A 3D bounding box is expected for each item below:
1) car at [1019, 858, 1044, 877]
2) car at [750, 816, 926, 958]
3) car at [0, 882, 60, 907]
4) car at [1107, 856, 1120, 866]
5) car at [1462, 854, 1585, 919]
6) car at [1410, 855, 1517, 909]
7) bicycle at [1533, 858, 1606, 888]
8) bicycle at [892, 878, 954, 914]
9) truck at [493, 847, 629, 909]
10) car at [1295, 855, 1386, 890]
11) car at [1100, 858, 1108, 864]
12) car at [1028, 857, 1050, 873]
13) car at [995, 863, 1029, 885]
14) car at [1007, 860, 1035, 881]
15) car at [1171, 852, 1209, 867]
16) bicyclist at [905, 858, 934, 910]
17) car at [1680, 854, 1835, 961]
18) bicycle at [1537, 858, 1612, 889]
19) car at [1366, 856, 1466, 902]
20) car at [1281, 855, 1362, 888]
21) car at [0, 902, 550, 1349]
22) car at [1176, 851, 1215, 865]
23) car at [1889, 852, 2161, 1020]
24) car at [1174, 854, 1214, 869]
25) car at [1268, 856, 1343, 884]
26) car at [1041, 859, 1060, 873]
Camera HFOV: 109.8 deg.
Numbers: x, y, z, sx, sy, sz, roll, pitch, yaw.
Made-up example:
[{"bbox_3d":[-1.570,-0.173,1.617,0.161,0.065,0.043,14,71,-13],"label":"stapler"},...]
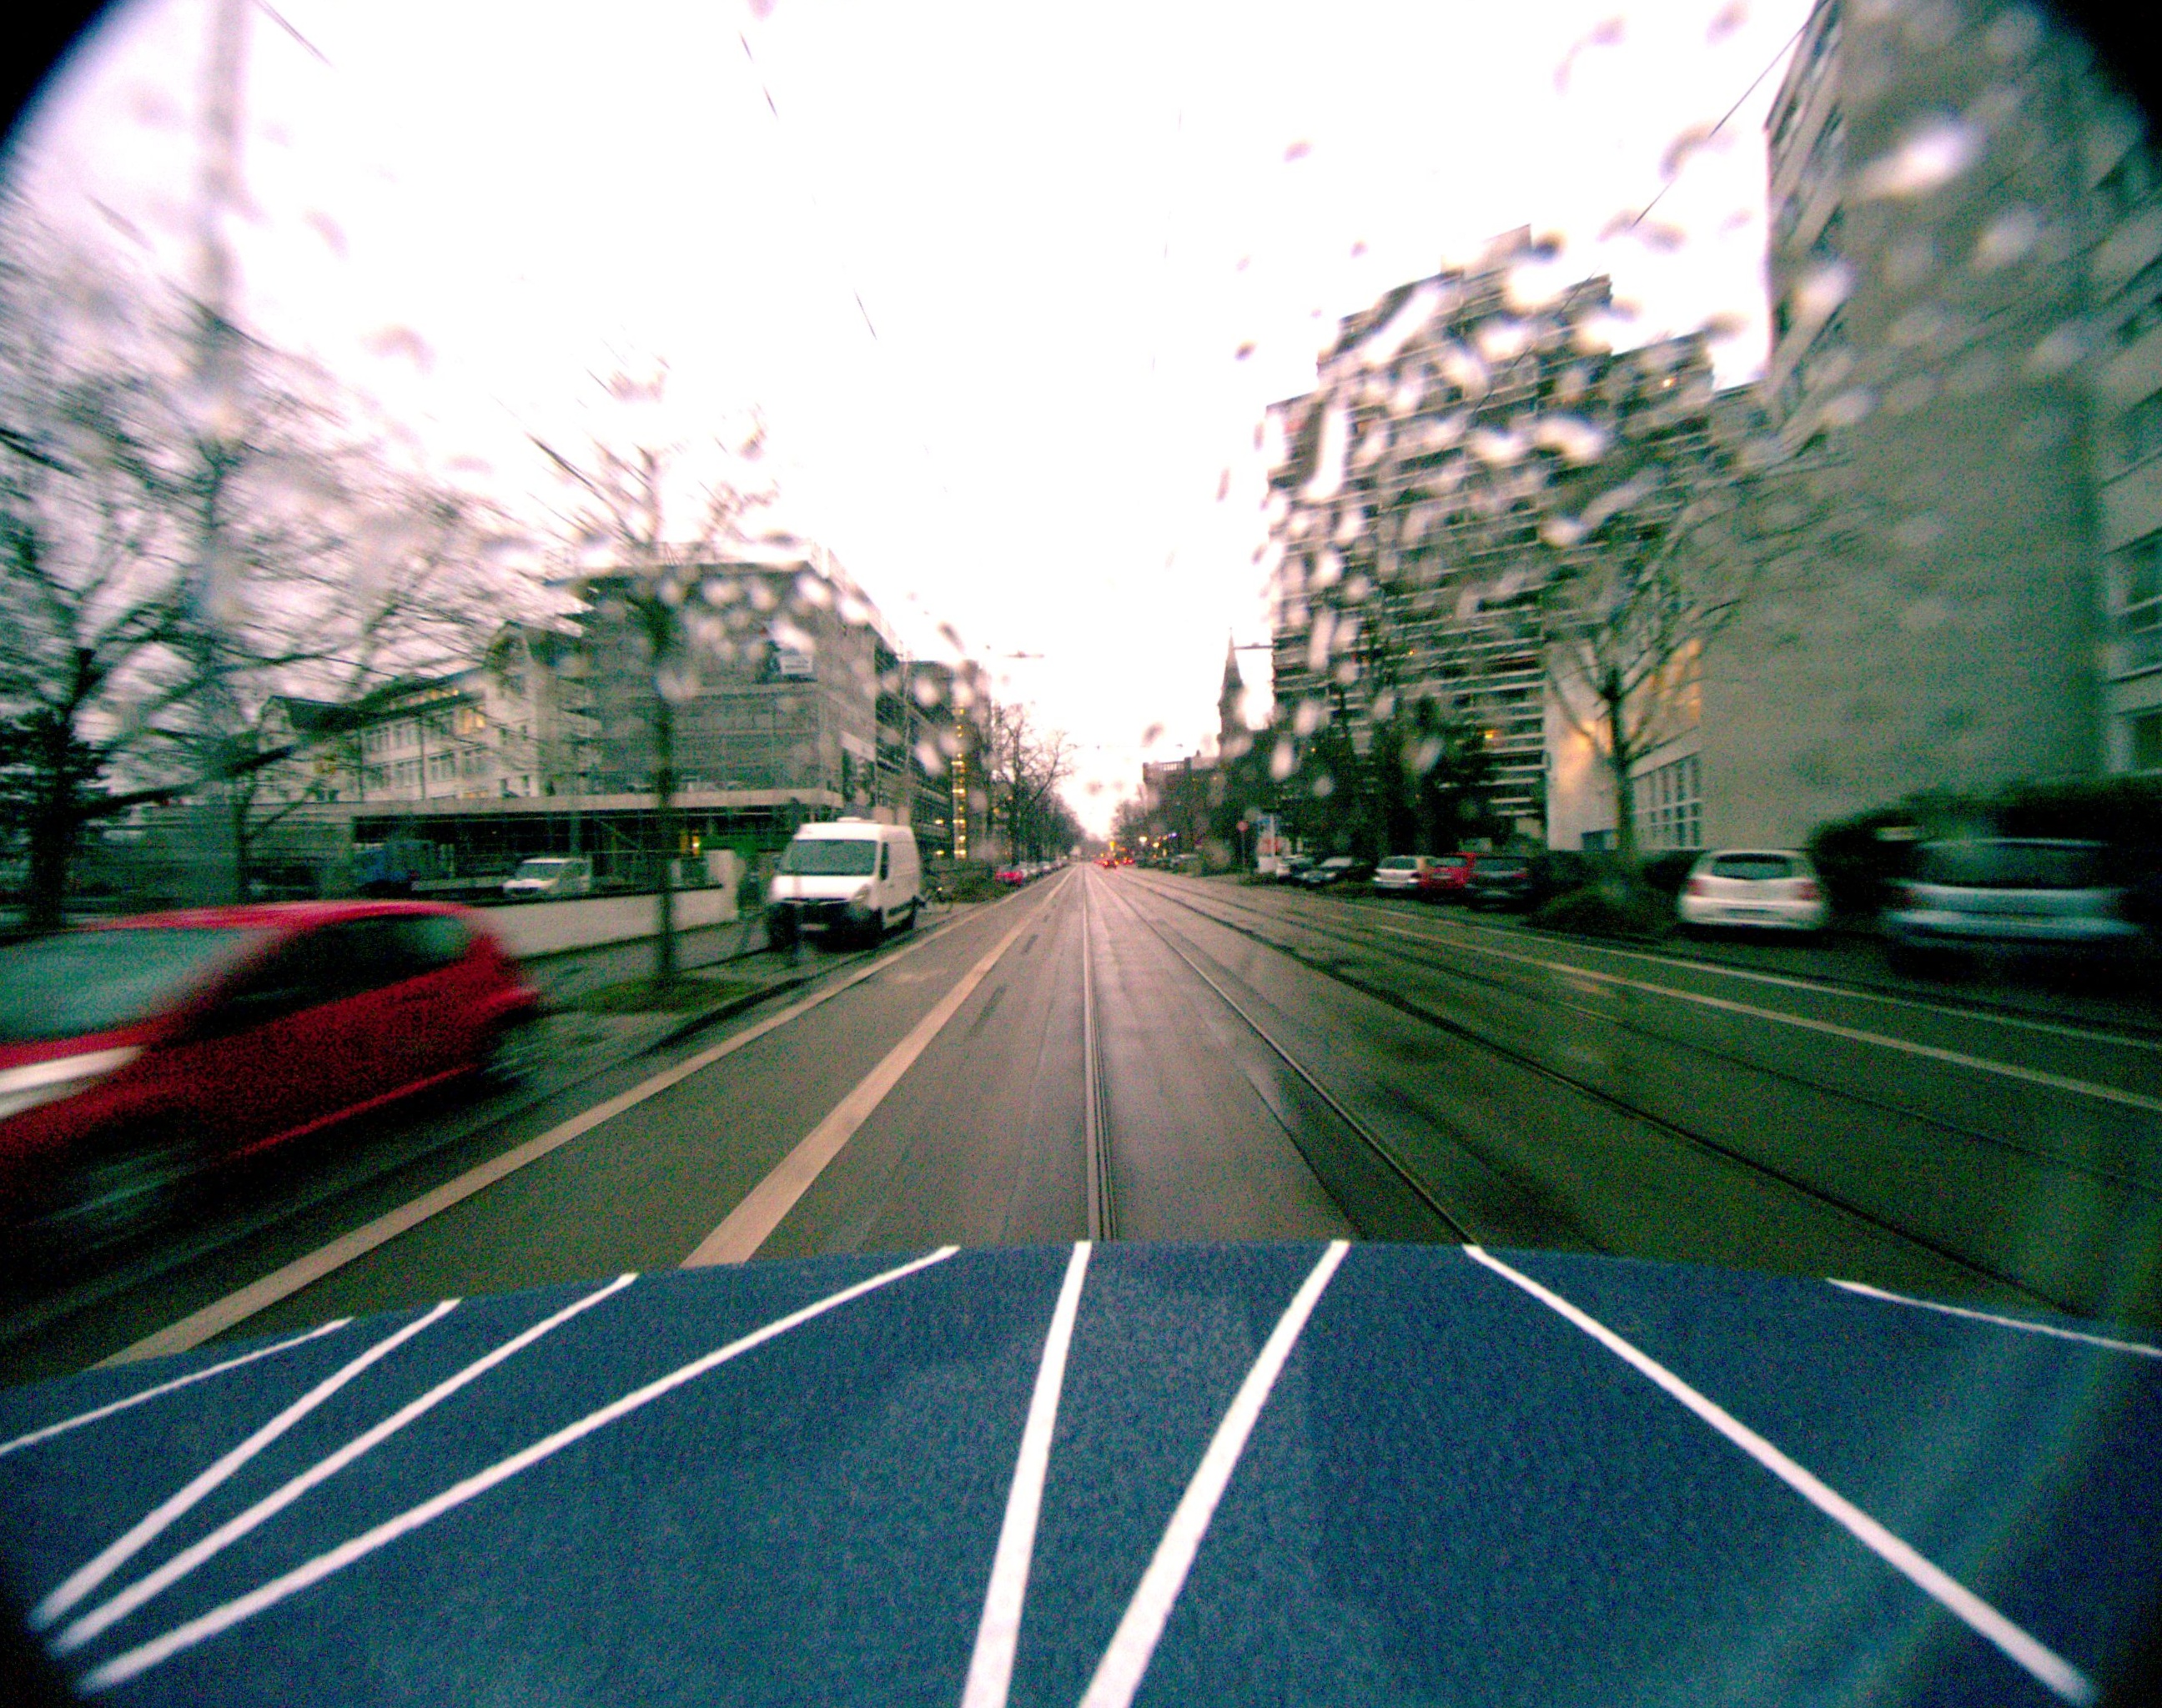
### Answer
[{"bbox_3d":[-4.453,1.227,69.255,1.866,1.584,4.001,-1,-1,2],"label":"car"},{"bbox_3d":[-4.839,0.611,16.102,2.130,2.472,5.438,-1,-1,-2],"label":"car"},{"bbox_3d":[-69.790,2.652,49.723,1.700,1.514,3.316,-1,-1,27],"label":"car"},{"bbox_3d":[4.993,1.106,116.552,1.752,1.535,4.295,-1,-1,-2],"label":"car"},{"bbox_3d":[11.390,0.766,19.448,3.862,1.484,1.691,0,-1,-43],"label":"car"},{"bbox_3d":[11.659,0.804,23.068,3.458,1.484,1.725,0,-1,-42],"label":"car"},{"bbox_3d":[18.289,0.724,28.512,2.200,1.114,0.643,-1,0,23],"label":"bicycle"},{"bbox_3d":[-5.142,1.372,24.802,1.893,1.126,0.730,-1,0,-3],"label":"bicycle"},{"bbox_3d":[-23.881,0.978,35.400,2.132,2.573,7.075,-1,1,-7],"label":"truck"},{"bbox_3d":[10.996,0.767,32.093,4.008,1.370,1.851,0,-1,-42],"label":"car"},{"bbox_3d":[5.700,1.683,190.100,1.765,1.402,4.001,-1,-1,1],"label":"car"},{"bbox_3d":[-4.263,1.087,78.388,1.866,1.584,4.001,-1,-1,2],"label":"car"},{"bbox_3d":[-4.459,1.287,49.486,1.753,1.379,3.737,-1,-1,2],"label":"car"},{"bbox_3d":[-4.588,1.242,58.605,1.753,1.574,3.737,-1,-1,2],"label":"car"},{"bbox_3d":[11.926,0.632,83.295,3.995,1.630,2.001,-1,-1,6],"label":"car"},{"bbox_3d":[-5.268,0.967,24.803,0.771,1.679,0.707,-1,0,-1],"label":"bicyclist"},{"bbox_3d":[11.623,0.789,12.966,3.885,1.542,1.688,0,-1,-44],"label":"car"},{"bbox_3d":[17.913,0.711,27.659,2.200,1.114,0.643,-1,0,23],"label":"bicycle"},{"bbox_3d":[11.483,0.797,25.937,1.788,1.437,4.009,-1,-1,44],"label":"car"},{"bbox_3d":[11.418,0.812,35.985,4.008,1.454,1.851,0,-1,-42],"label":"car"},{"bbox_3d":[-4.933,1.137,4.128,1.647,1.514,3.572,-2,-1,-2],"label":"car"},{"bbox_3d":[12.125,0.434,80.389,3.995,1.477,1.673,-1,0,6],"label":"car"},{"bbox_3d":[10.881,0.768,8.952,4.008,1.554,1.732,0,-1,-42],"label":"car"},{"bbox_3d":[11.357,0.769,76.553,3.995,1.477,1.673,-1,0,6],"label":"car"},{"bbox_3d":[11.627,0.796,39.165,4.008,1.391,1.851,0,-1,-42],"label":"car"},{"bbox_3d":[-3.568,1.354,89.393,1.866,1.584,4.001,-1,-1,2],"label":"car"}]
